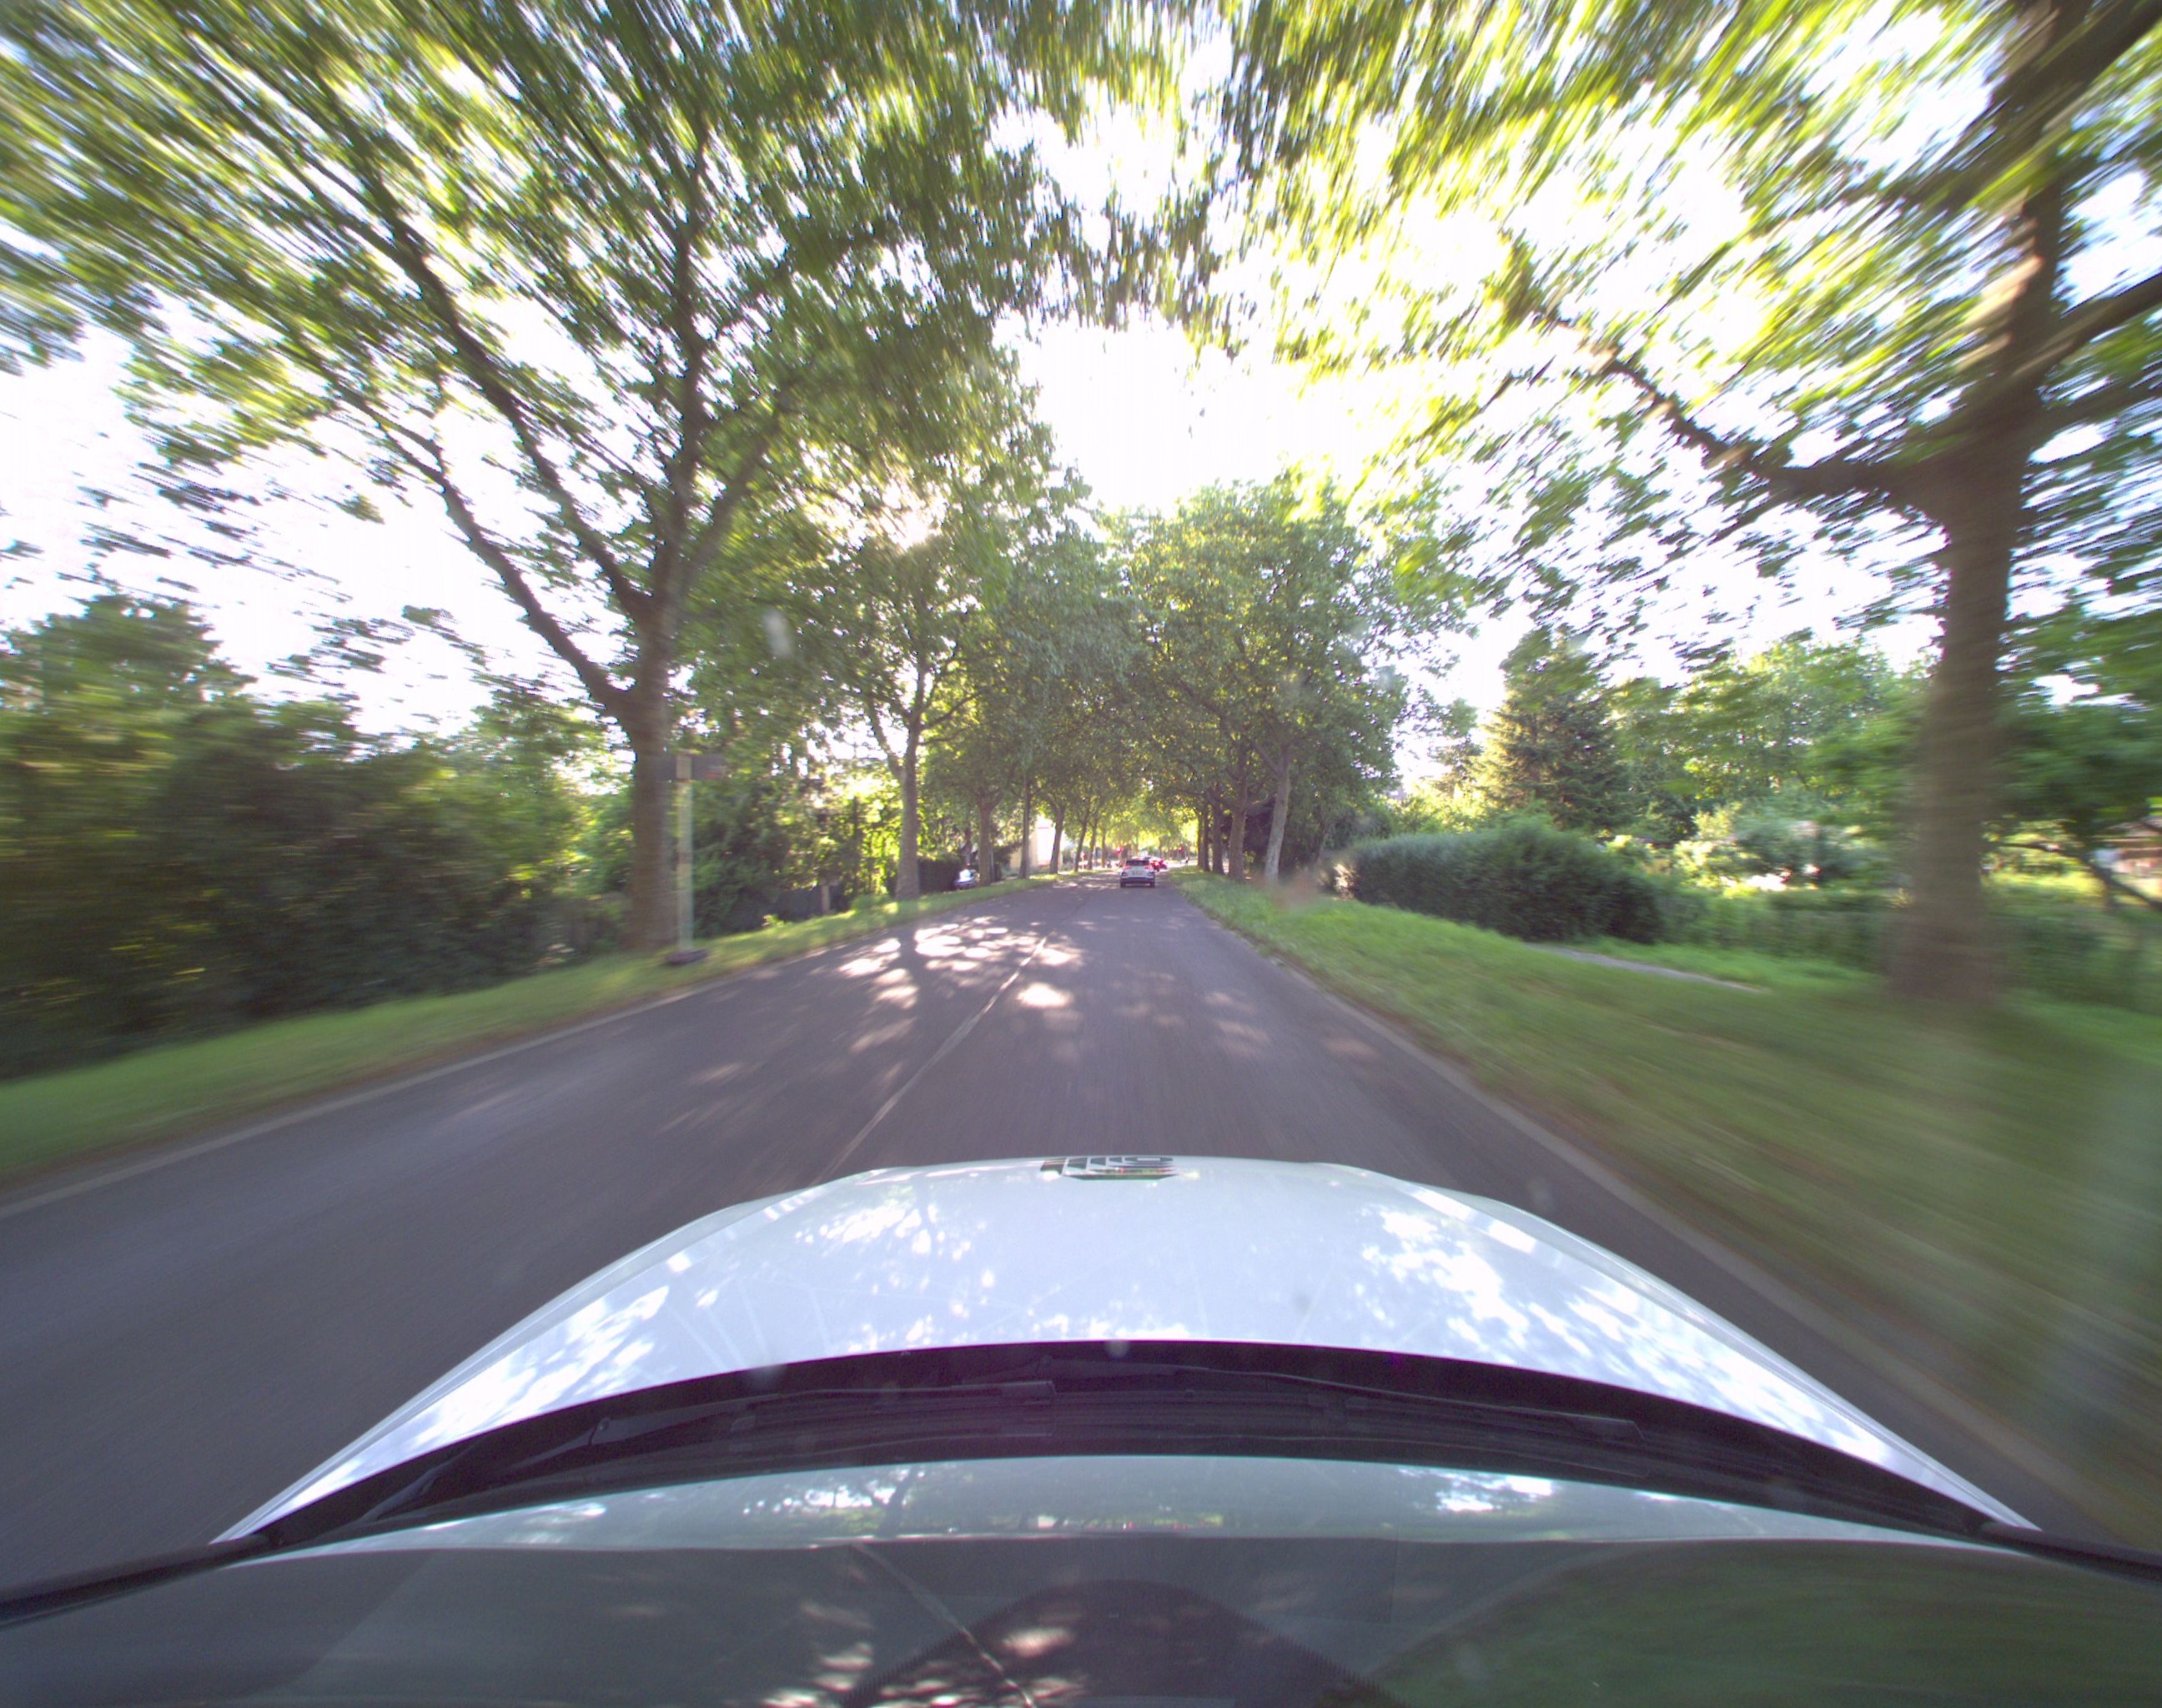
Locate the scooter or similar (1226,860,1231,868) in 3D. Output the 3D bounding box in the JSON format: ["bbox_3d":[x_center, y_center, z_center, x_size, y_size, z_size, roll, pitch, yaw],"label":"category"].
[{"bbox_3d":[21.887,1.519,120.827,0.546,1.258,2.318,0,-1,9],"label":"scooter or similar"}]

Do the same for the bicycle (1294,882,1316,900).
[{"bbox_3d":[10.858,1.762,39.490,0.550,0.817,1.888,0,-1,0],"label":"bicycle"}]

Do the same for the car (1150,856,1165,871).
[{"bbox_3d":[10.468,1.293,111.628,1.984,2.014,4.005,0,-1,5],"label":"car"}]

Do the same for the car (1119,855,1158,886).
[{"bbox_3d":[3.103,0.892,43.572,1.984,1.574,4.005,0,-1,5],"label":"car"}]

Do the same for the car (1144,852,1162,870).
[{"bbox_3d":[8.459,0.838,95.423,1.984,2.014,4.006,0,-1,5],"label":"car"}]

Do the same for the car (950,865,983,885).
[{"bbox_3d":[-8.657,1.580,61.702,1.745,1.304,4.002,-2,0,2],"label":"car"}]

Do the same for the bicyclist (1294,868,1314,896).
[{"bbox_3d":[10.862,1.360,39.718,0.731,1.366,0.771,0,-1,0],"label":"bicyclist"}]

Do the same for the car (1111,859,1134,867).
[{"bbox_3d":[7.497,1.609,148.105,3.964,1.478,2.004,0,-1,8],"label":"car"}]
